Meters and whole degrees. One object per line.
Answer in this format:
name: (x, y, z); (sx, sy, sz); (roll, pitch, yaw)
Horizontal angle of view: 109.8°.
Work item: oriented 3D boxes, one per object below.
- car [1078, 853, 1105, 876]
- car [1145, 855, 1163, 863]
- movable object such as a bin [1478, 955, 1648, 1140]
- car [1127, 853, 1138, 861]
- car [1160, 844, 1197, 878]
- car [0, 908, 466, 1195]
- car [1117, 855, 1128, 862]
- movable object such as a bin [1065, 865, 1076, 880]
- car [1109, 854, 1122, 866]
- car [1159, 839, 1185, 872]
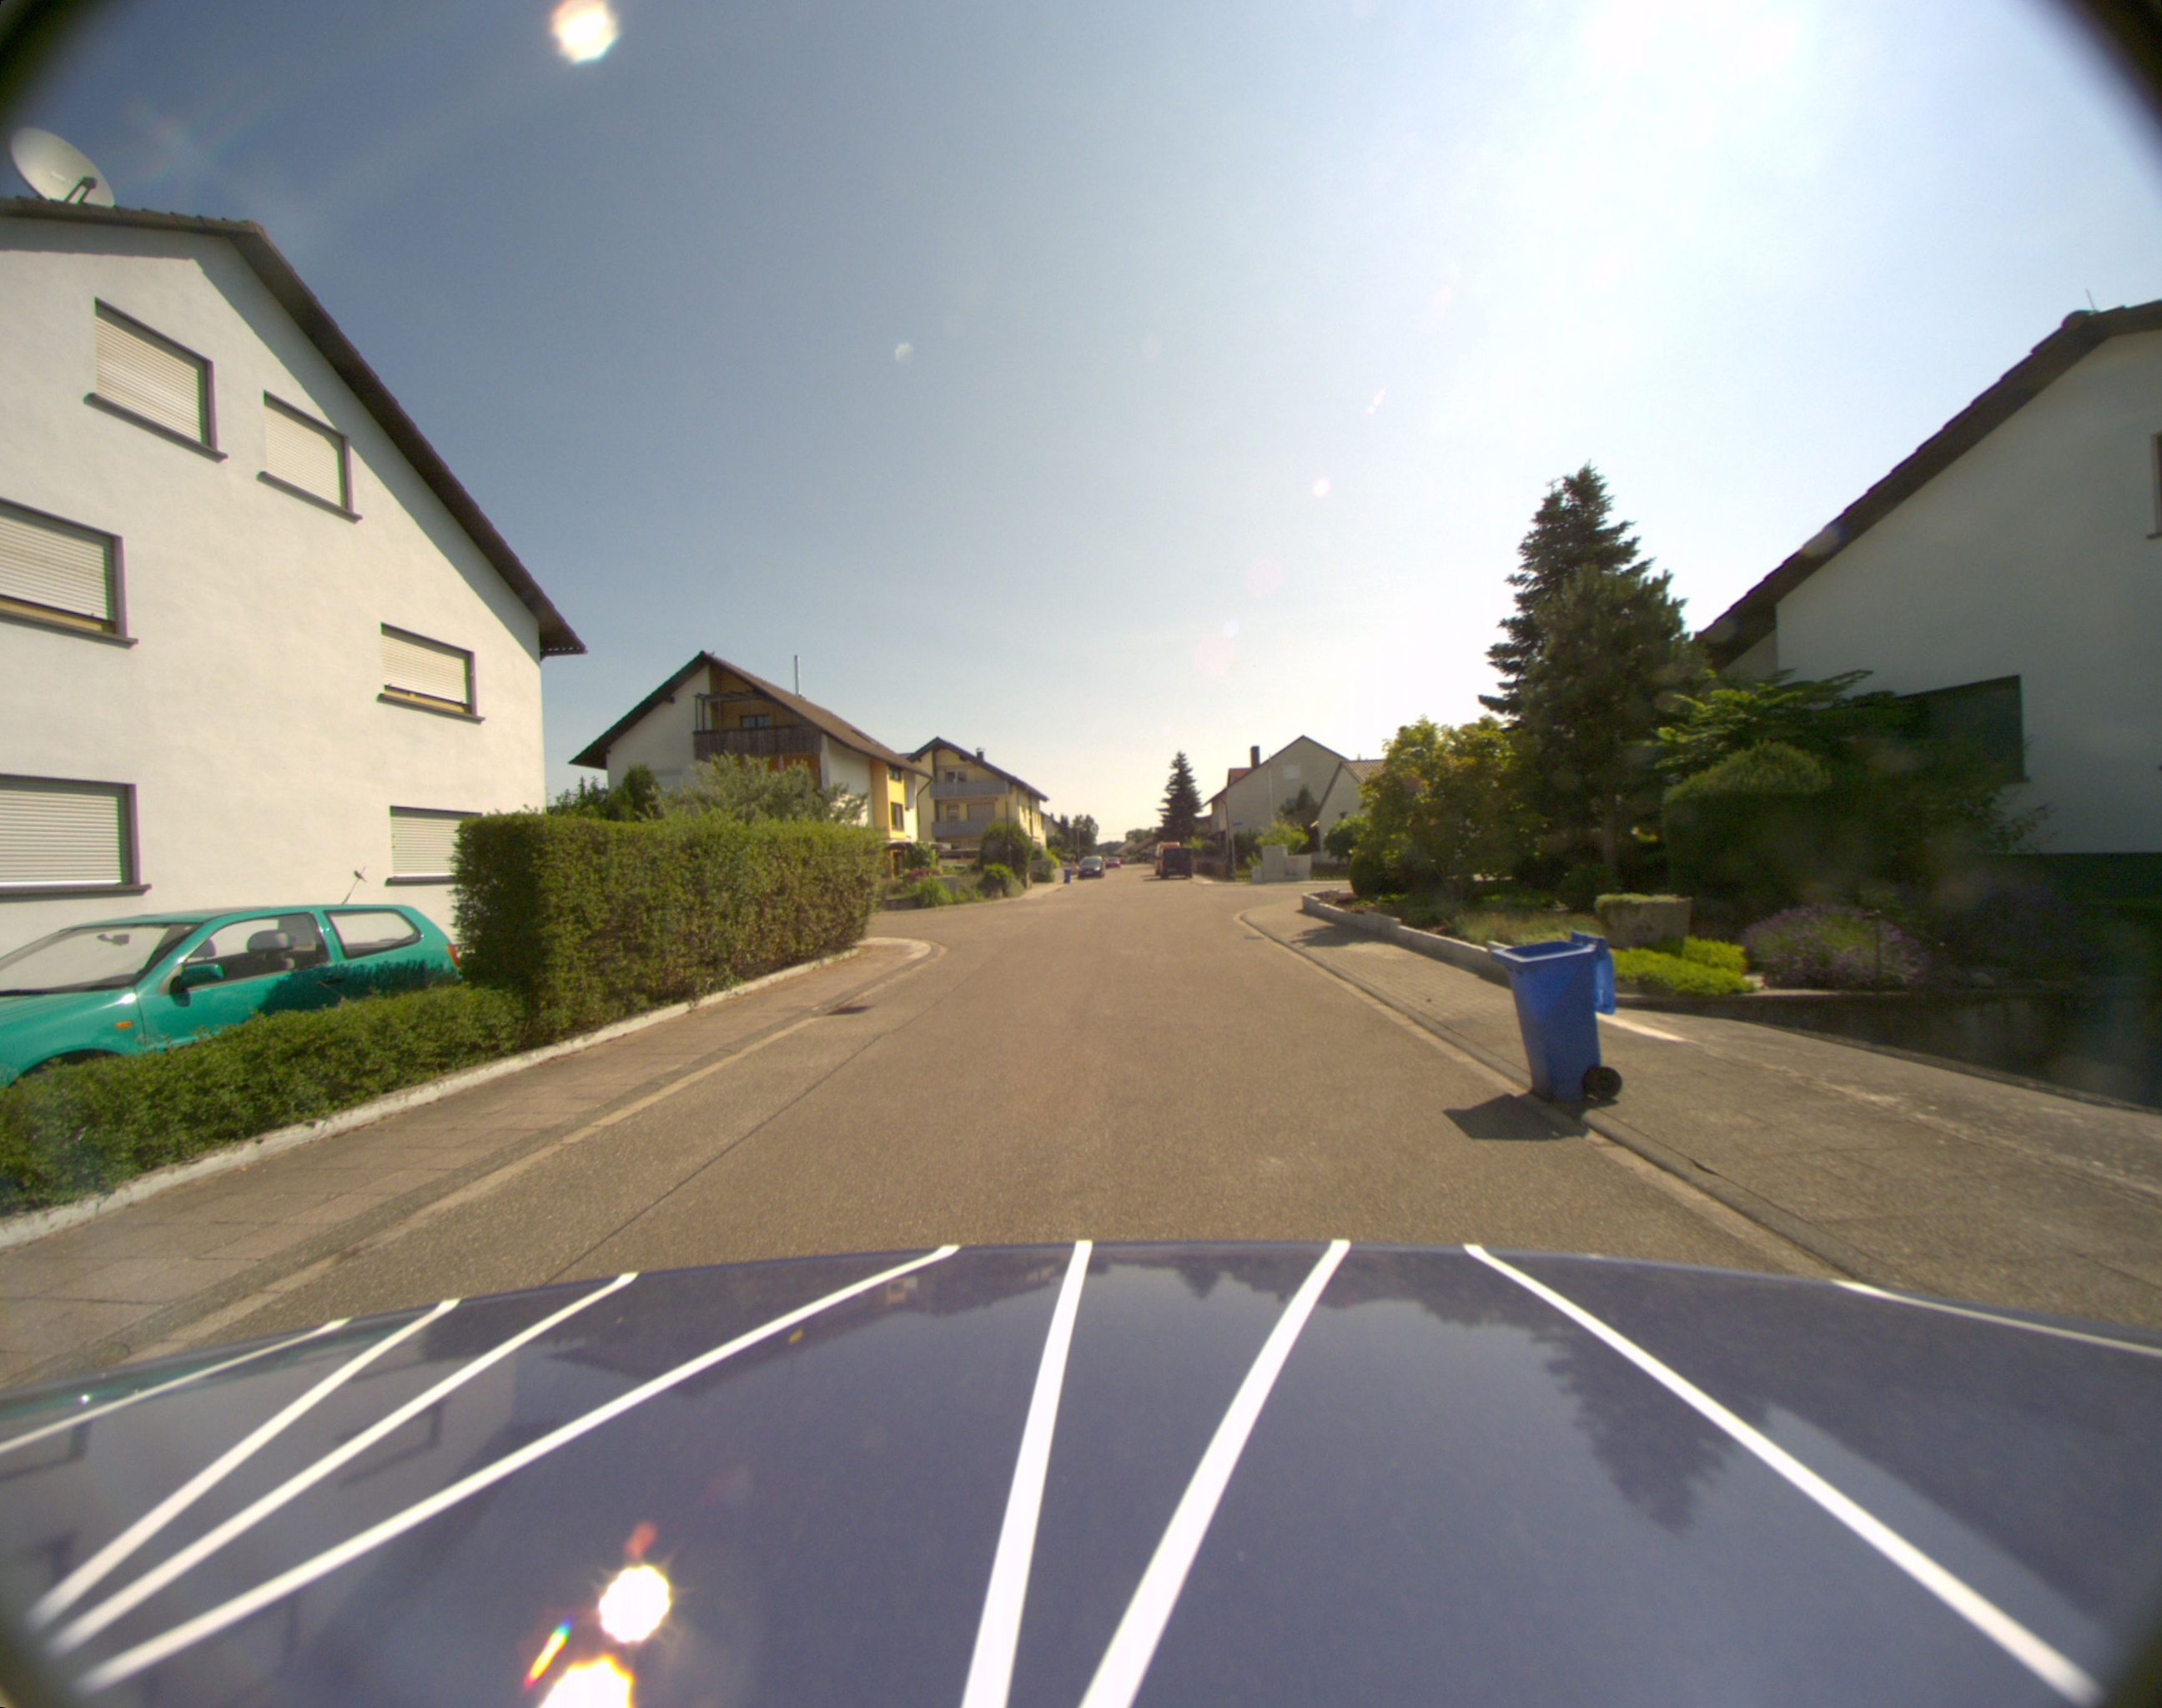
car: (0.809, 0.806, 57.712); (1.631, 1.616, 4.002); (-3, 0, 5)
car: (15.338, 0.992, 159.959); (3.413, 1.521, 1.638); (-3, 0, -3)
movable object such as a bin: (2.803, 1.106, 4.472); (0.584, 0.911, 0.598); (-4, 0, 3)
car: (10.193, 0.643, 150.921); (1.709, 1.332, 4.000); (-3, -1, -4)
car: (6.077, 0.401, 47.713); (1.869, 1.927, 4.205); (-3, 0, 3)
car: (-6.688, 1.230, 5.494); (1.498, 1.351, 3.527); (-3, 0, 1)
car: (8.978, 0.901, 163.622); (1.709, 1.332, 4.000); (-3, -1, -4)
movable object such as a bin: (-0.654, 1.190, 48.365); (0.584, 0.911, 0.598); (-4, 0, 3)
car: (4.548, 0.777, 99.785); (1.517, 1.398, 3.678); (-4, -1, 1)
car: (6.838, 0.101, 57.088); (1.555, 2.310, 4.205); (-3, 0, 3)
